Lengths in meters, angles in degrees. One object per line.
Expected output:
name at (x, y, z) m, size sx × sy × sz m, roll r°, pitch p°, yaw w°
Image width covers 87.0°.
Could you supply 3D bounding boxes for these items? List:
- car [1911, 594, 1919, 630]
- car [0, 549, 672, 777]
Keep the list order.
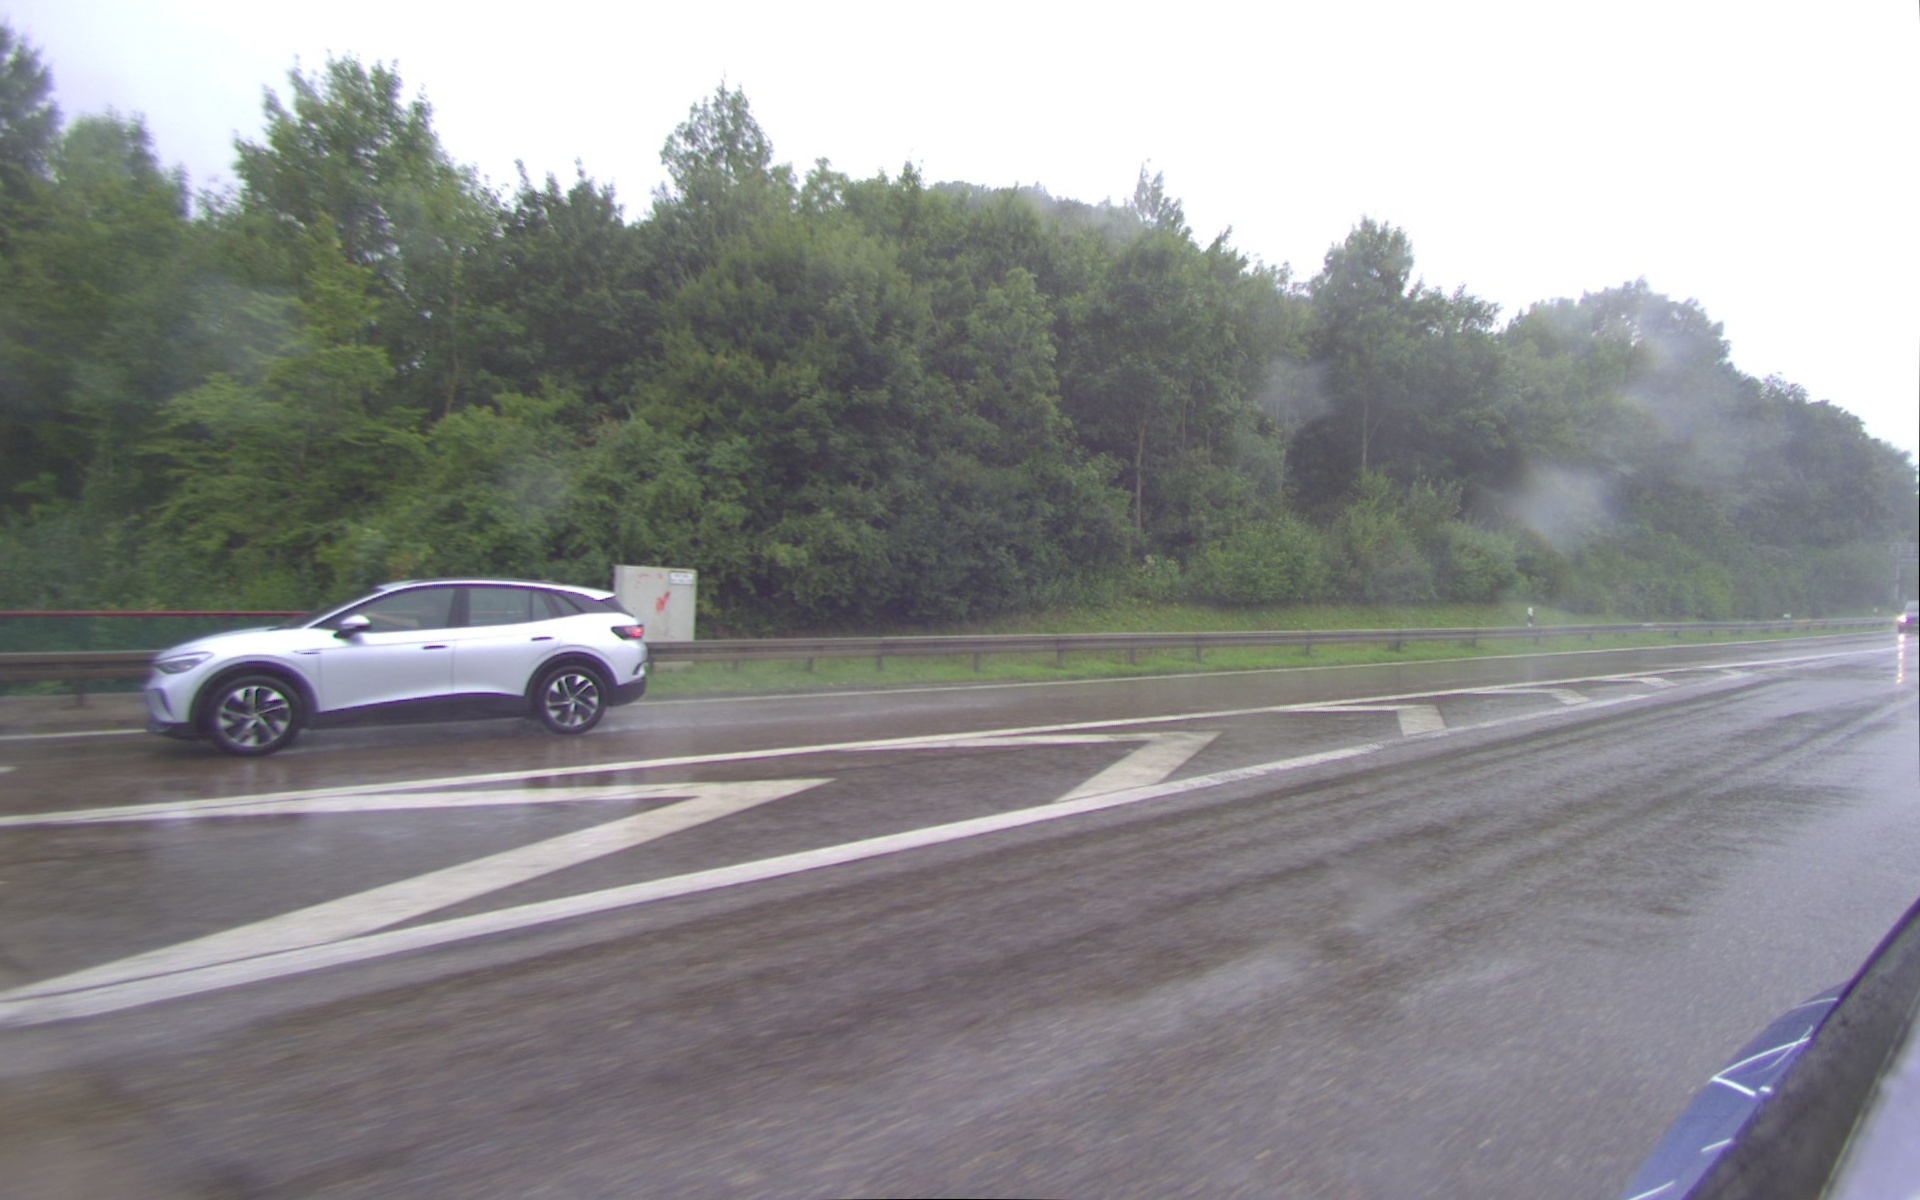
car at (55.794, 0.699, 57.598) m, size 3.926 × 2.039 × 1.859 m, roll 0°, pitch 0°, yaw -38°
car at (-5.960, 0.477, 10.199) m, size 5.555 × 1.773 × 2.000 m, roll 0°, pitch 0°, yaw -35°
